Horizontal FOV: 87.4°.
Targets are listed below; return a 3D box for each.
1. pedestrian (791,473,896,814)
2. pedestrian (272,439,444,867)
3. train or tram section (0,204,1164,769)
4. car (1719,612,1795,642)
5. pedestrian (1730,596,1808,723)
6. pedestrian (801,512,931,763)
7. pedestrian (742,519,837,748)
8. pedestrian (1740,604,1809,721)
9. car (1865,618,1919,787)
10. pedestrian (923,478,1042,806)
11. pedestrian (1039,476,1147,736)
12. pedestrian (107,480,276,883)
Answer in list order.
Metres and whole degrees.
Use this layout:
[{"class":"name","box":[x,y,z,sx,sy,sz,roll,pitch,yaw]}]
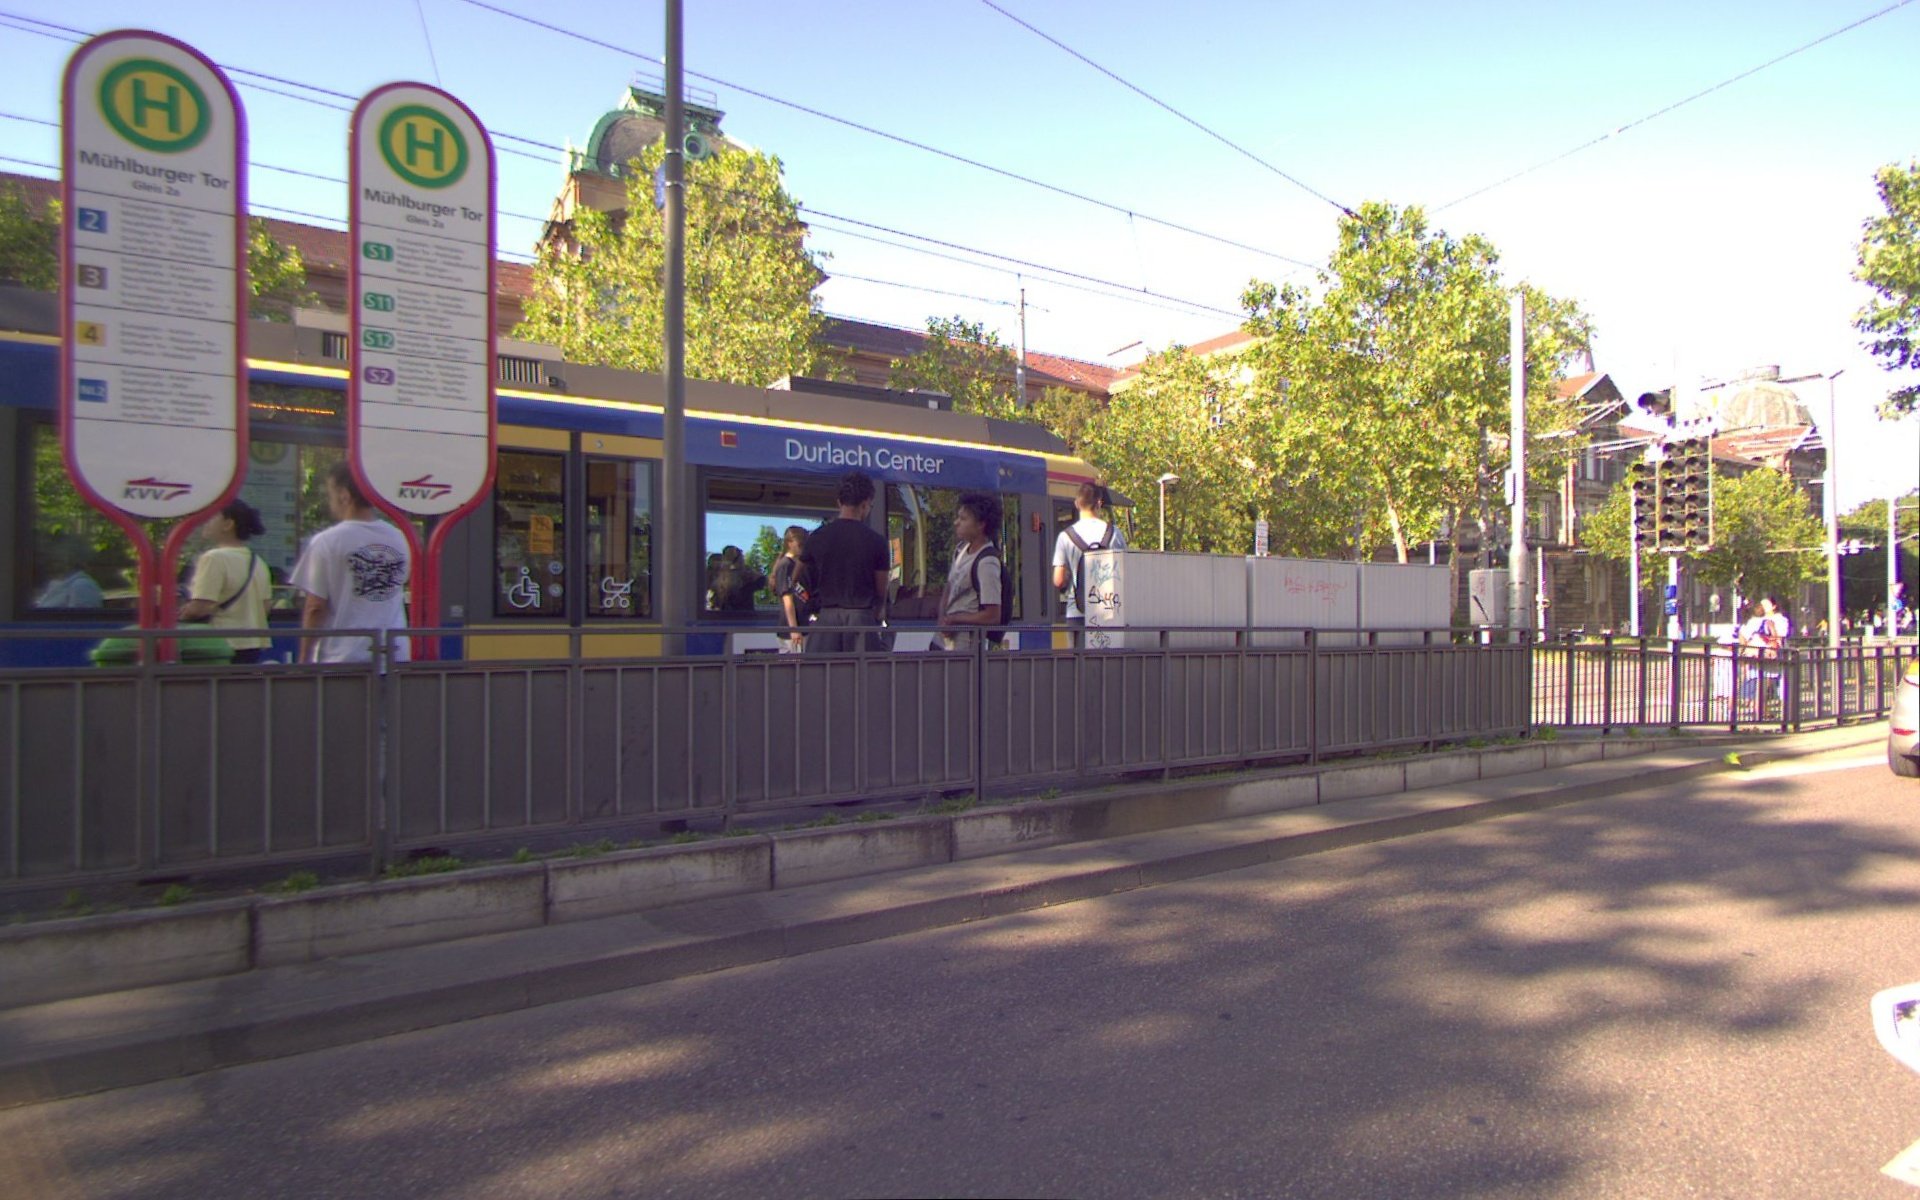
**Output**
[{"class":"pedestrian","box":[-0.628,0.228,5.474,0.539,1.757,0.539,0,-1,-5]},{"class":"pedestrian","box":[-2.656,0.220,4.429,0.606,1.724,0.502,1,-1,-36]},{"class":"train or tram section","box":[-4.050,-0.599,8.605,12.970,3.303,2.898,2,0,-33]},{"class":"car","box":[44.745,1.517,56.387,3.951,1.646,1.985,1,-1,-29]},{"class":"pedestrian","box":[10.413,0.751,12.932,0.641,1.577,0.626,1,-1,-36]},{"class":"pedestrian","box":[-0.694,0.268,7.358,0.740,1.724,0.628,1,-1,-36]},{"class":"pedestrian","box":[-1.357,0.262,7.984,0.540,1.724,0.604,1,-1,-36]},{"class":"pedestrian","box":[11.838,0.905,14.606,0.635,1.640,0.635,4,-3,-35]},{"class":"car","box":[9.929,0.907,9.059,3.590,1.428,1.652,1,0,-31]},{"class":"pedestrian","box":[0.139,0.234,5.733,0.538,1.757,0.540,-1,-1,18]},{"class":"pedestrian","box":[0.945,0.047,7.176,0.534,1.757,0.544,1,-1,-36]},{"class":"pedestrian","box":[-3.699,0.370,4.874,0.606,1.793,0.549,1,-1,-36]}]
